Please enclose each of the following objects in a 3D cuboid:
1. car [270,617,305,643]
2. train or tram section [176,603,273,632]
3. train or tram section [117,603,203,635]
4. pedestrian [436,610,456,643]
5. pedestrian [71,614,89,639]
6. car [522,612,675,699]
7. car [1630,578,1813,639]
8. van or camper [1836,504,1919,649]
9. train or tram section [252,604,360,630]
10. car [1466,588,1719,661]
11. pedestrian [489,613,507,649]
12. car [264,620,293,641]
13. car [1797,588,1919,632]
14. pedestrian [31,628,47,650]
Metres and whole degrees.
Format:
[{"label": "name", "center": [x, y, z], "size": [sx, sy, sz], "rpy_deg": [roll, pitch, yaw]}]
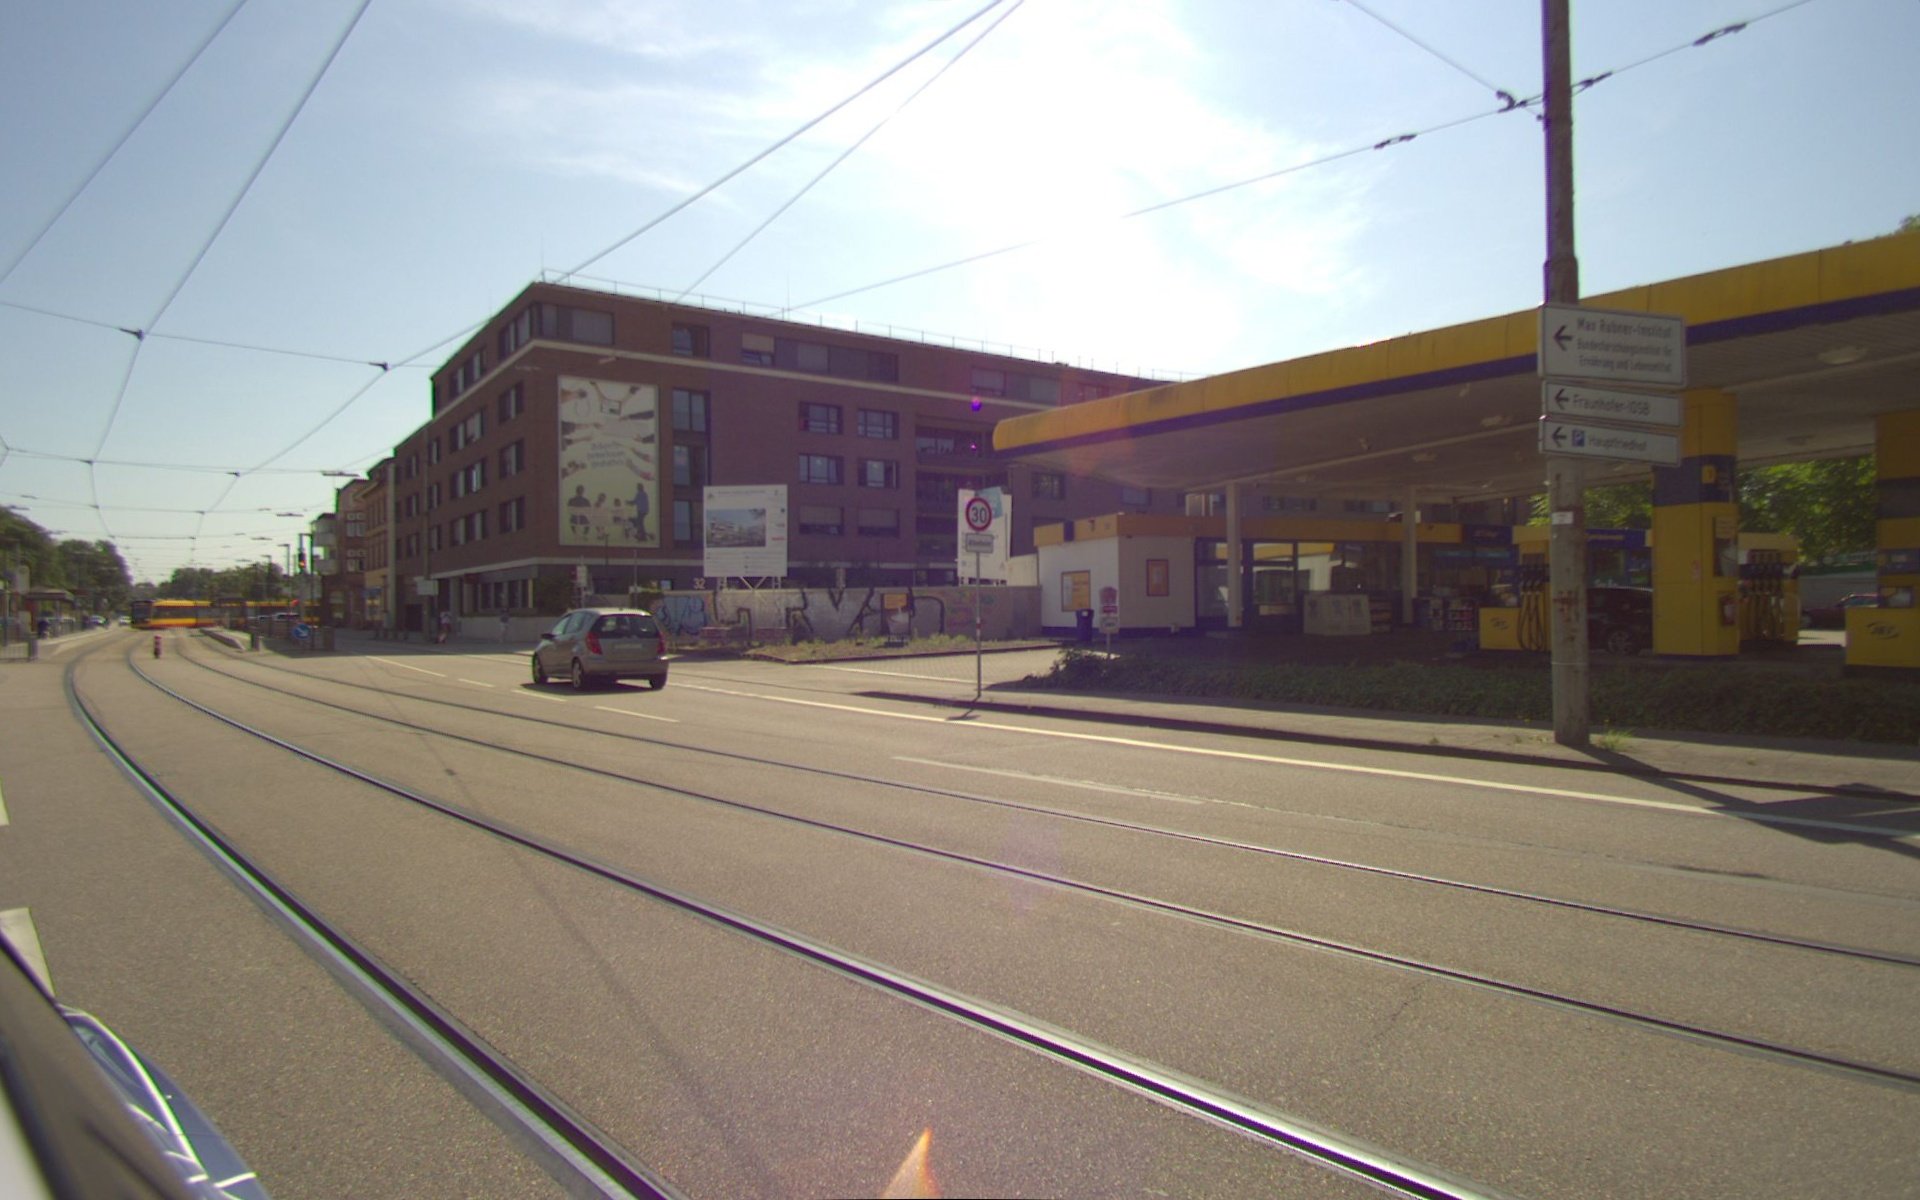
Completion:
[{"label": "car", "center": [-50.080, 2.222, 75.340], "size": [1.778, 1.742, 4.197], "rpy_deg": [-2, 0, -38]}, {"label": "train or tram section", "center": [-94.323, 2.232, 130.187], "size": [2.652, 3.507, 13.332], "rpy_deg": [-1, -1, 1]}, {"label": "train or tram section", "center": [-92.627, 2.148, 117.524], "size": [2.643, 3.507, 13.375], "rpy_deg": [-1, -1, -15]}, {"label": "pedestrian", "center": [-28.806, 1.495, 56.746], "size": [0.833, 1.833, 0.840], "rpy_deg": [0, -1, -38]}, {"label": "pedestrian", "center": [-66.560, 1.994, 76.562], "size": [0.968, 1.872, 1.240], "rpy_deg": [0, -1, -38]}, {"label": "car", "center": [-7.454, 1.044, 20.675], "size": [1.724, 1.583, 3.898], "rpy_deg": [1, -1, -39]}, {"label": "car", "center": [24.593, 0.206, 32.899], "size": [1.748, 1.775, 4.489], "rpy_deg": [-3, 2, -22]}, {"label": "van or camper", "center": [21.693, -0.548, 19.532], "size": [2.571, 2.989, 6.735], "rpy_deg": [-3, 2, -22]}, {"label": "train or tram section", "center": [-91.571, 2.285, 142.146], "size": [2.675, 3.507, 13.218], "rpy_deg": [-1, -1, 26]}, {"label": "car", "center": [13.246, 0.471, 21.542], "size": [1.673, 1.313, 4.404], "rpy_deg": [-3, 1, -21]}, {"label": "pedestrian", "center": [-21.689, 1.432, 47.504], "size": [0.574, 1.677, 0.701], "rpy_deg": [0, -1, -40]}, {"label": "car", "center": [-54.912, 2.452, 81.533], "size": [1.690, 1.634, 3.586], "rpy_deg": [-2, 0, -38]}, {"label": "car", "center": [32.283, 0.361, 35.902], "size": [1.711, 1.470, 3.574], "rpy_deg": [-1, 0, -26]}, {"label": "pedestrian", "center": [-52.796, 2.226, 58.020], "size": [0.621, 1.264, 0.711], "rpy_deg": [0, -1, -39]}]
